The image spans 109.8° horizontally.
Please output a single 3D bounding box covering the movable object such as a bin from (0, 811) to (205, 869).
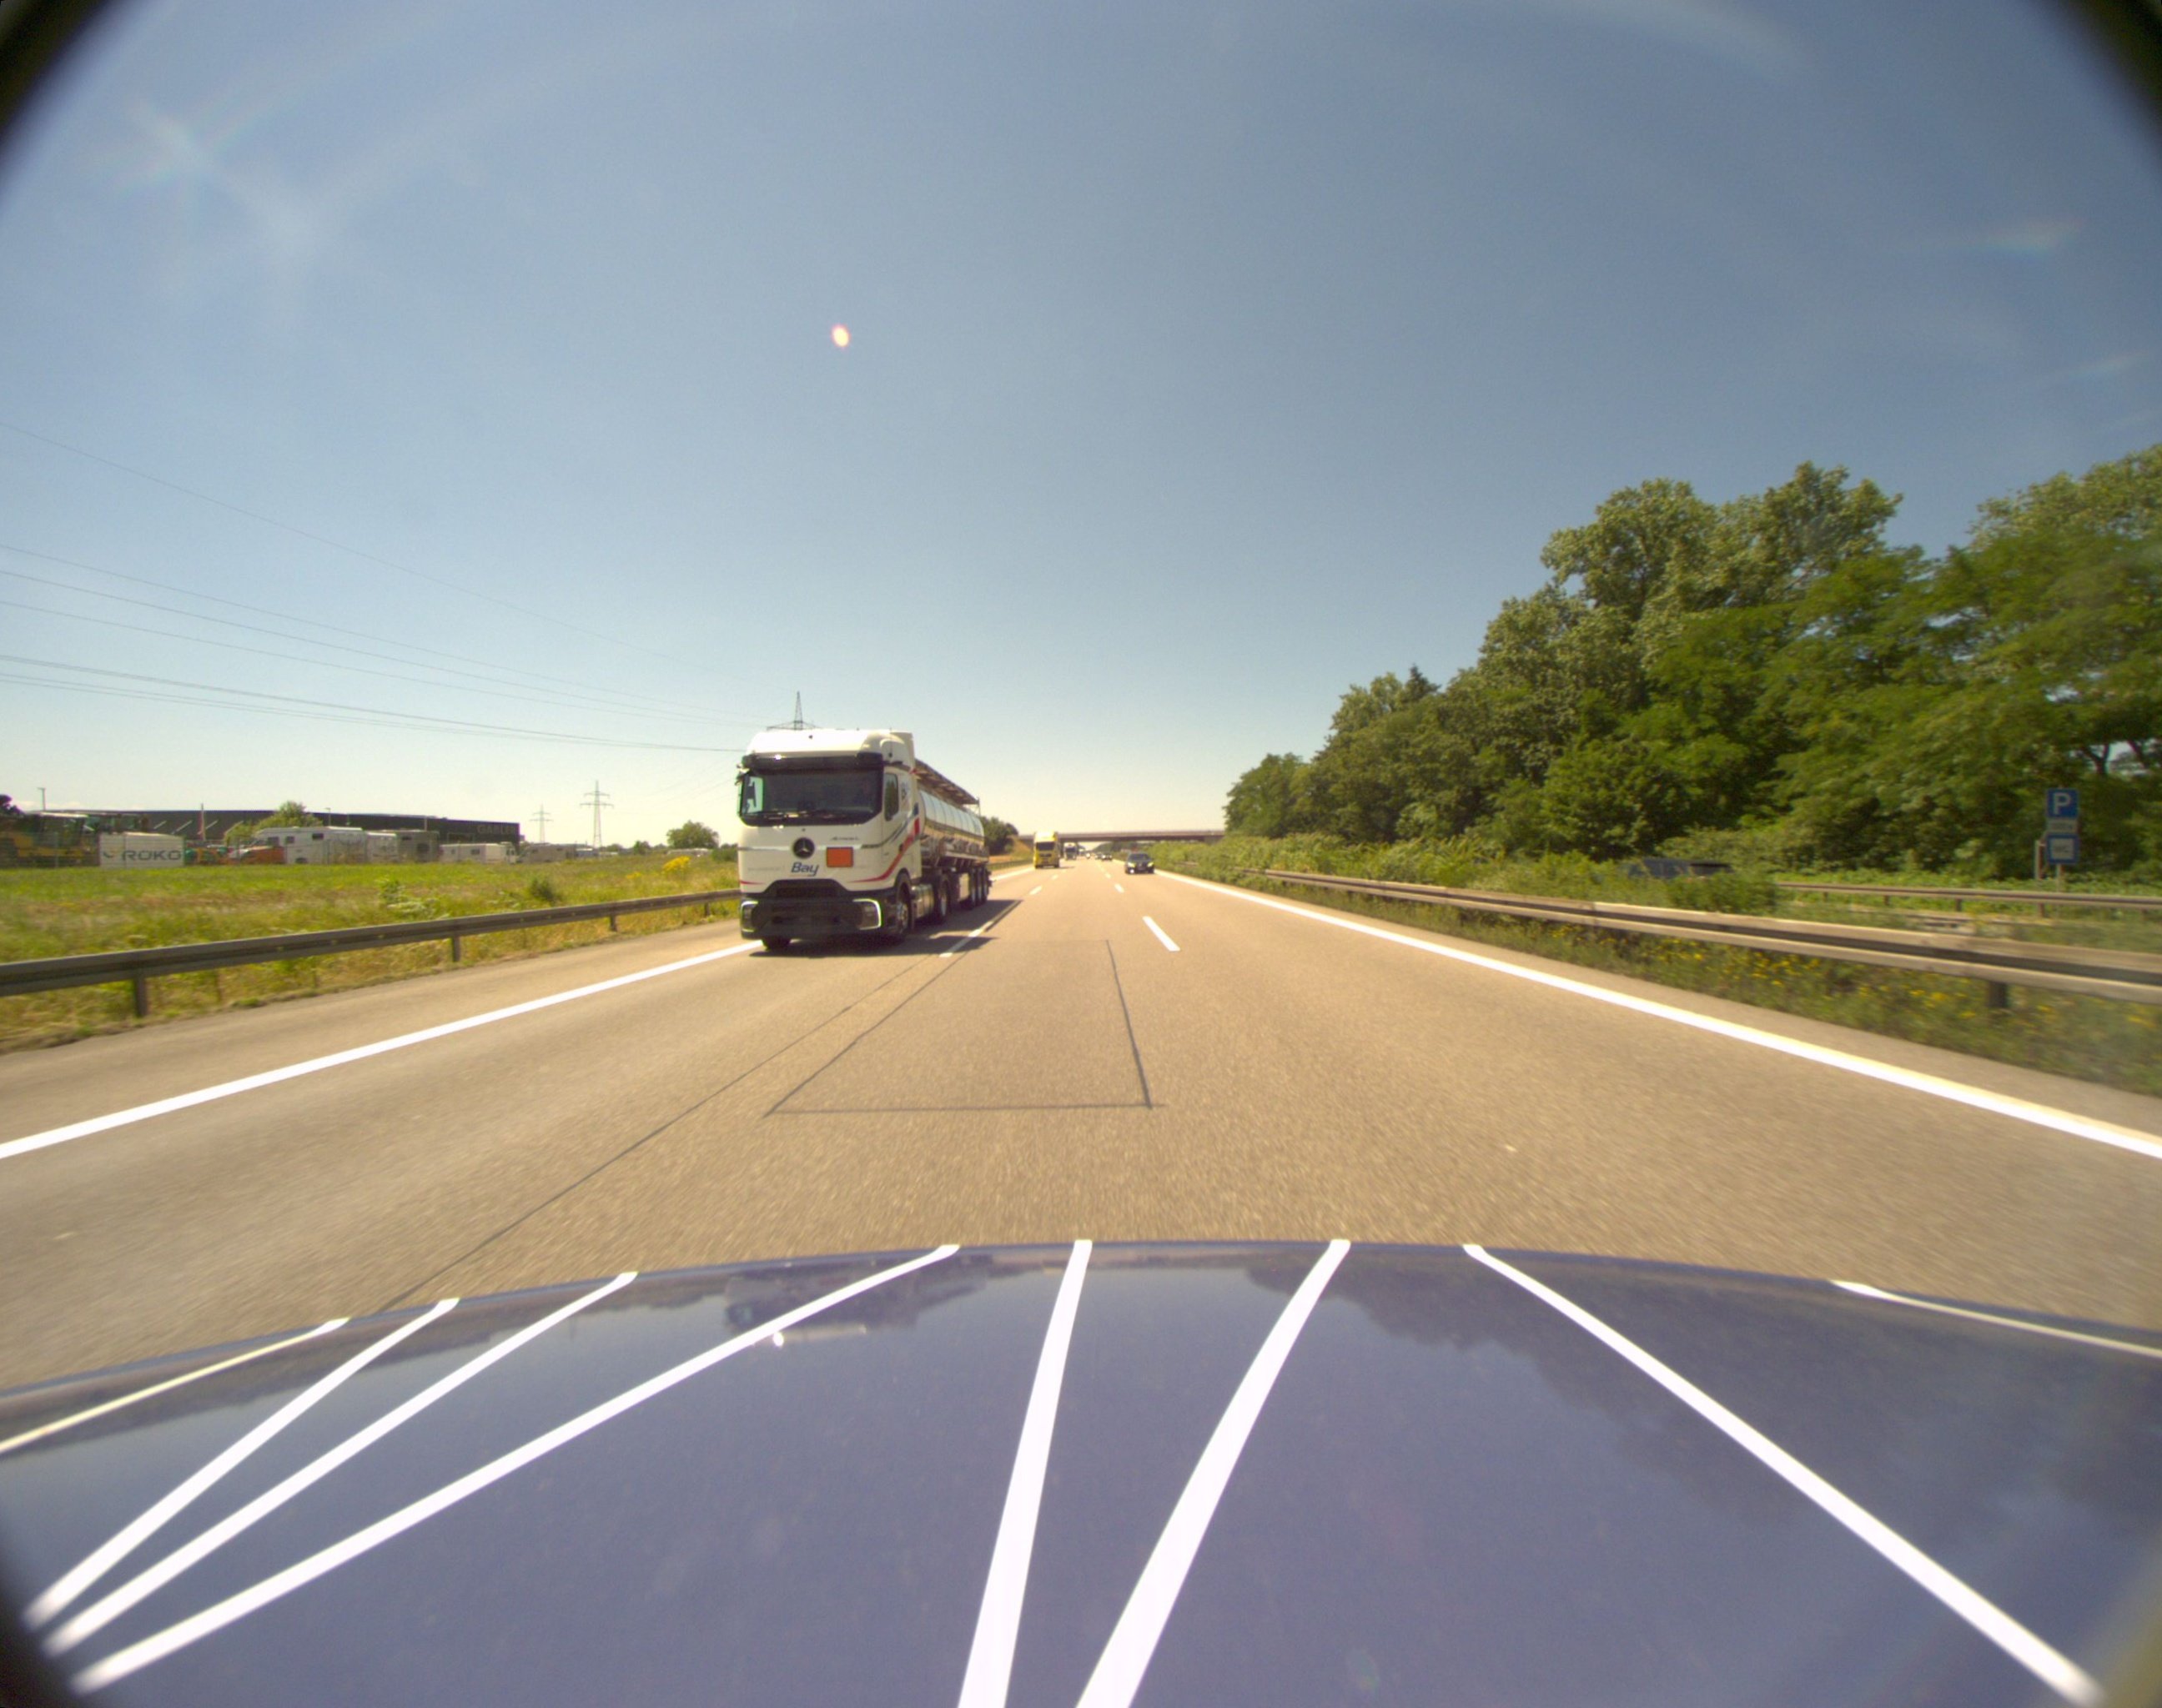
[{"bbox_3d":[-54.850,-0.786,42.519,8.746,2.989,3.215,1,1,6],"label":"movable object such as a bin"}]

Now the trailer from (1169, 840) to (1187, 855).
[{"bbox_3d":[23.167,-1.431,182.088,2.593,3.397,14.155,-2,0,0],"label":"trailer"}]

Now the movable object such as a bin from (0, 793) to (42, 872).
[{"bbox_3d":[-54.741,-1.055,34.881,9.739,3.668,3.419,1,1,2],"label":"movable object such as a bin"}]

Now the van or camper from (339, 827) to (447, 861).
[{"bbox_3d":[-53.869,-0.772,59.564,6.357,2.538,2.438,0,0,2],"label":"van or camper"}]

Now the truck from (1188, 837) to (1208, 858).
[{"bbox_3d":[21.537,-1.105,140.195,2.597,3.684,6.828,-2,0,2],"label":"truck"}]

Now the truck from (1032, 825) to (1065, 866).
[{"bbox_3d":[-3.513,-0.895,84.482,2.941,4.175,10.681,-2,0,0],"label":"truck"}]

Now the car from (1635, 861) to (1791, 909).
[{"bbox_3d":[16.597,0.769,20.144,1.491,1.066,3.154,-2,0,1],"label":"car"}]

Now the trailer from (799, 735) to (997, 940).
[{"bbox_3d":[-4.330,-0.335,20.967,2.586,4.050,11.102,-2,0,0],"label":"trailer"}]

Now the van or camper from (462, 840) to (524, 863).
[{"bbox_3d":[-69.767,-0.336,90.217,5.271,2.662,2.616,0,0,-1],"label":"van or camper"}]

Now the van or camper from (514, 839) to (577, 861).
[{"bbox_3d":[-69.843,-0.539,99.174,6.462,2.751,2.422,0,0,-1],"label":"van or camper"}]

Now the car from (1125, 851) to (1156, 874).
[{"bbox_3d":[4.056,0.576,52.420,1.811,1.459,4.000,-2,0,1],"label":"car"}]

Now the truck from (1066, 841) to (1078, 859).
[{"bbox_3d":[-2.080,-0.984,176.758,2.476,4.038,6.320,-2,0,1],"label":"truck"}]

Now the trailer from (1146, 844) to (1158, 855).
[{"bbox_3d":[23.863,-1.422,256.403,2.833,3.688,13.928,-2,0,1],"label":"trailer"}]

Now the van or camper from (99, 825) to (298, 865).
[{"bbox_3d":[-56.355,-0.567,48.697,9.333,2.506,3.161,0,0,2],"label":"van or camper"}]

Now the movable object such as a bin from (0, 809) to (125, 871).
[{"bbox_3d":[-55.042,-0.737,38.975,8.748,2.989,2.956,1,1,3],"label":"movable object such as a bin"}]

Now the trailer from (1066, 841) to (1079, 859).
[{"bbox_3d":[-2.008,-1.000,183.523,2.476,4.038,13.880,-2,0,1],"label":"trailer"}]

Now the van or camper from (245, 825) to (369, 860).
[{"bbox_3d":[-53.999,-0.810,53.117,6.131,2.388,2.602,0,0,2],"label":"van or camper"}]

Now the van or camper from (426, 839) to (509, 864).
[{"bbox_3d":[-67.606,-0.242,83.847,6.368,2.662,3.324,0,0,0],"label":"van or camper"}]

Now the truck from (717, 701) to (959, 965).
[{"bbox_3d":[-4.338,-0.325,15.148,2.579,4.048,6.392,-2,0,0],"label":"truck"}]

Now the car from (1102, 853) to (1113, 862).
[{"bbox_3d":[4.669,0.577,132.749,1.811,1.417,4.000,-2,0,1],"label":"car"}]

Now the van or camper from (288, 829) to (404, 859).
[{"bbox_3d":[-54.091,-0.718,55.992,6.131,2.207,2.602,0,0,2],"label":"van or camper"}]

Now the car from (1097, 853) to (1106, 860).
[{"bbox_3d":[4.588,0.590,172.326,1.811,1.417,4.000,-2,0,1],"label":"car"}]
